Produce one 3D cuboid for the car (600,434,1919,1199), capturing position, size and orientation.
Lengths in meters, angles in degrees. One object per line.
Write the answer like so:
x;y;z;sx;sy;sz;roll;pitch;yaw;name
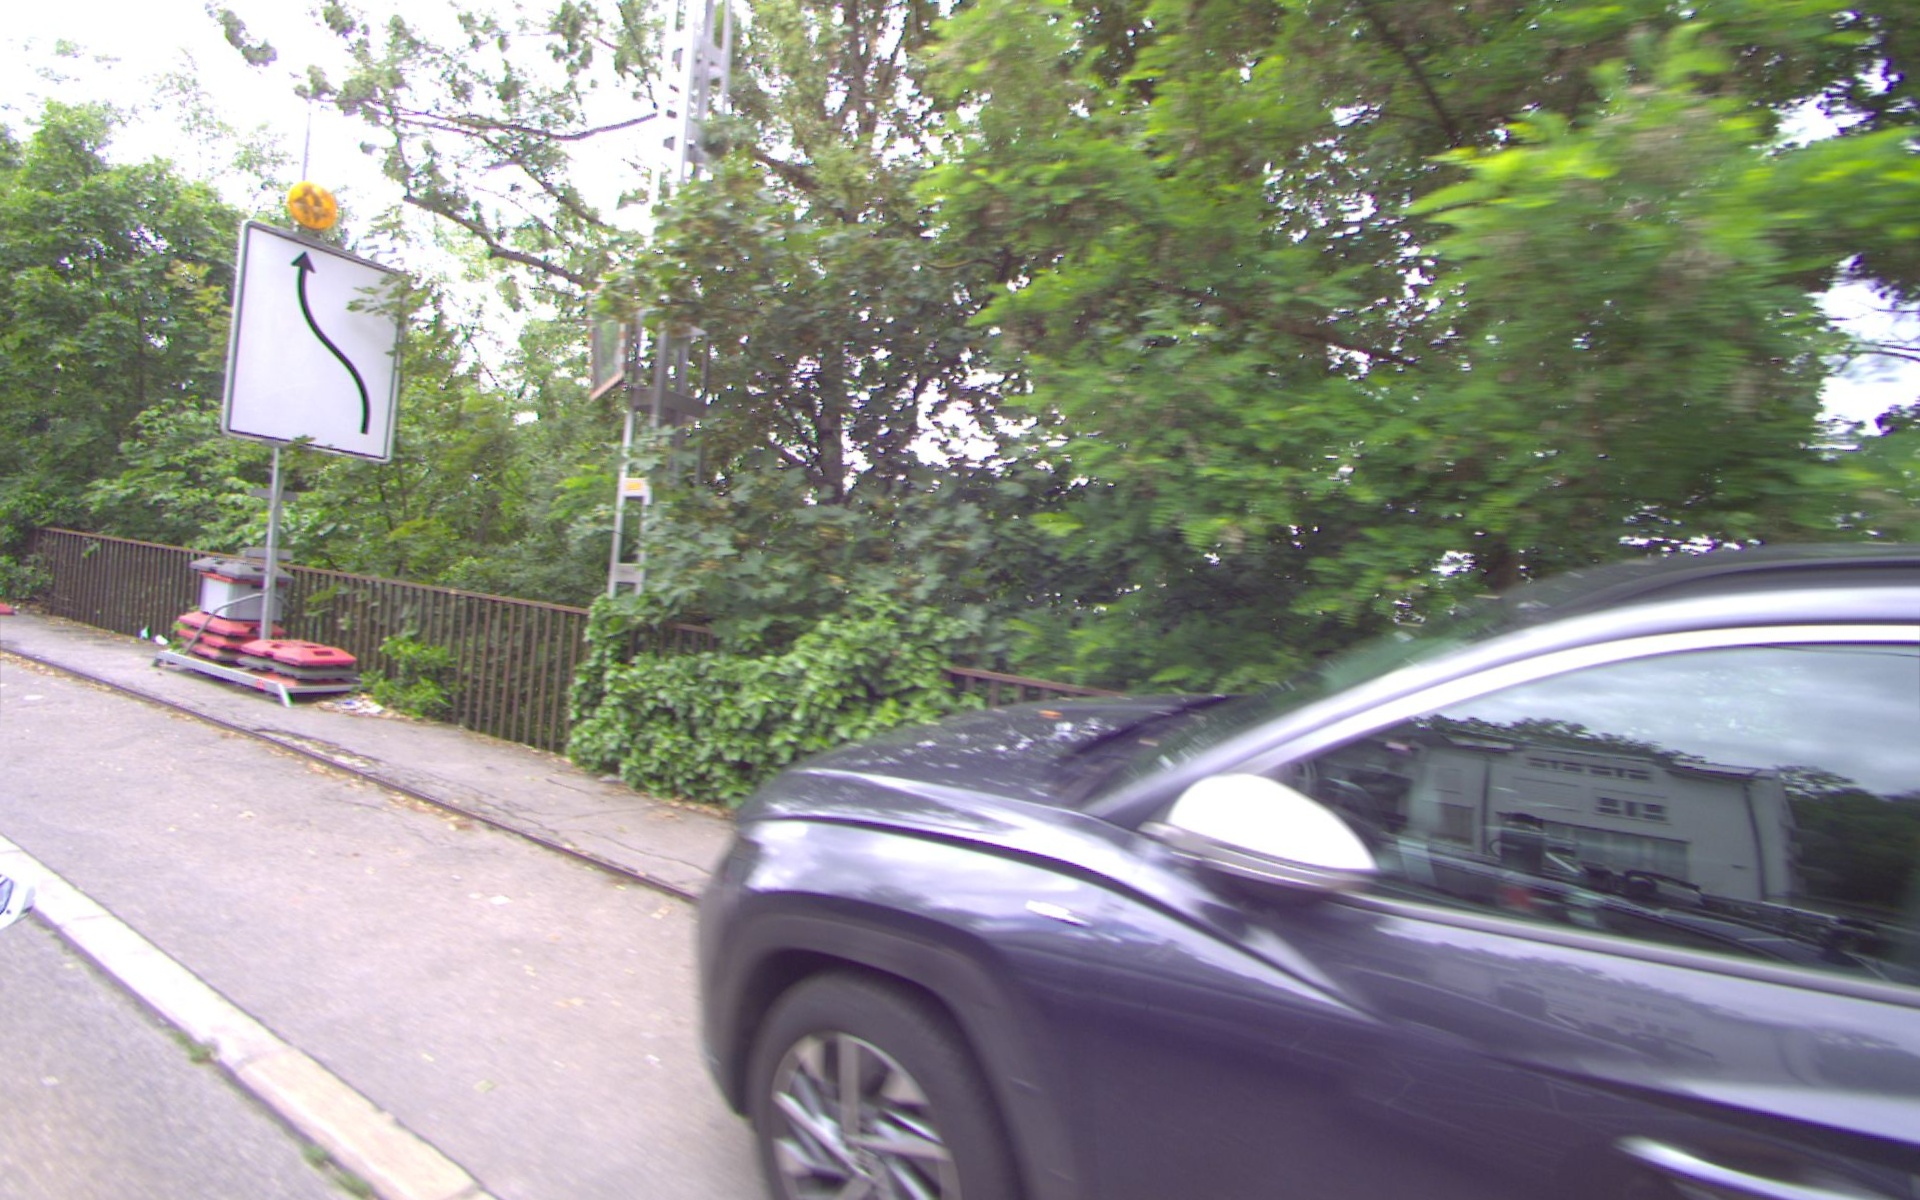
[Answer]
1.391;0.655;1.919;4.213;1.698;1.850;6;5;36;car
